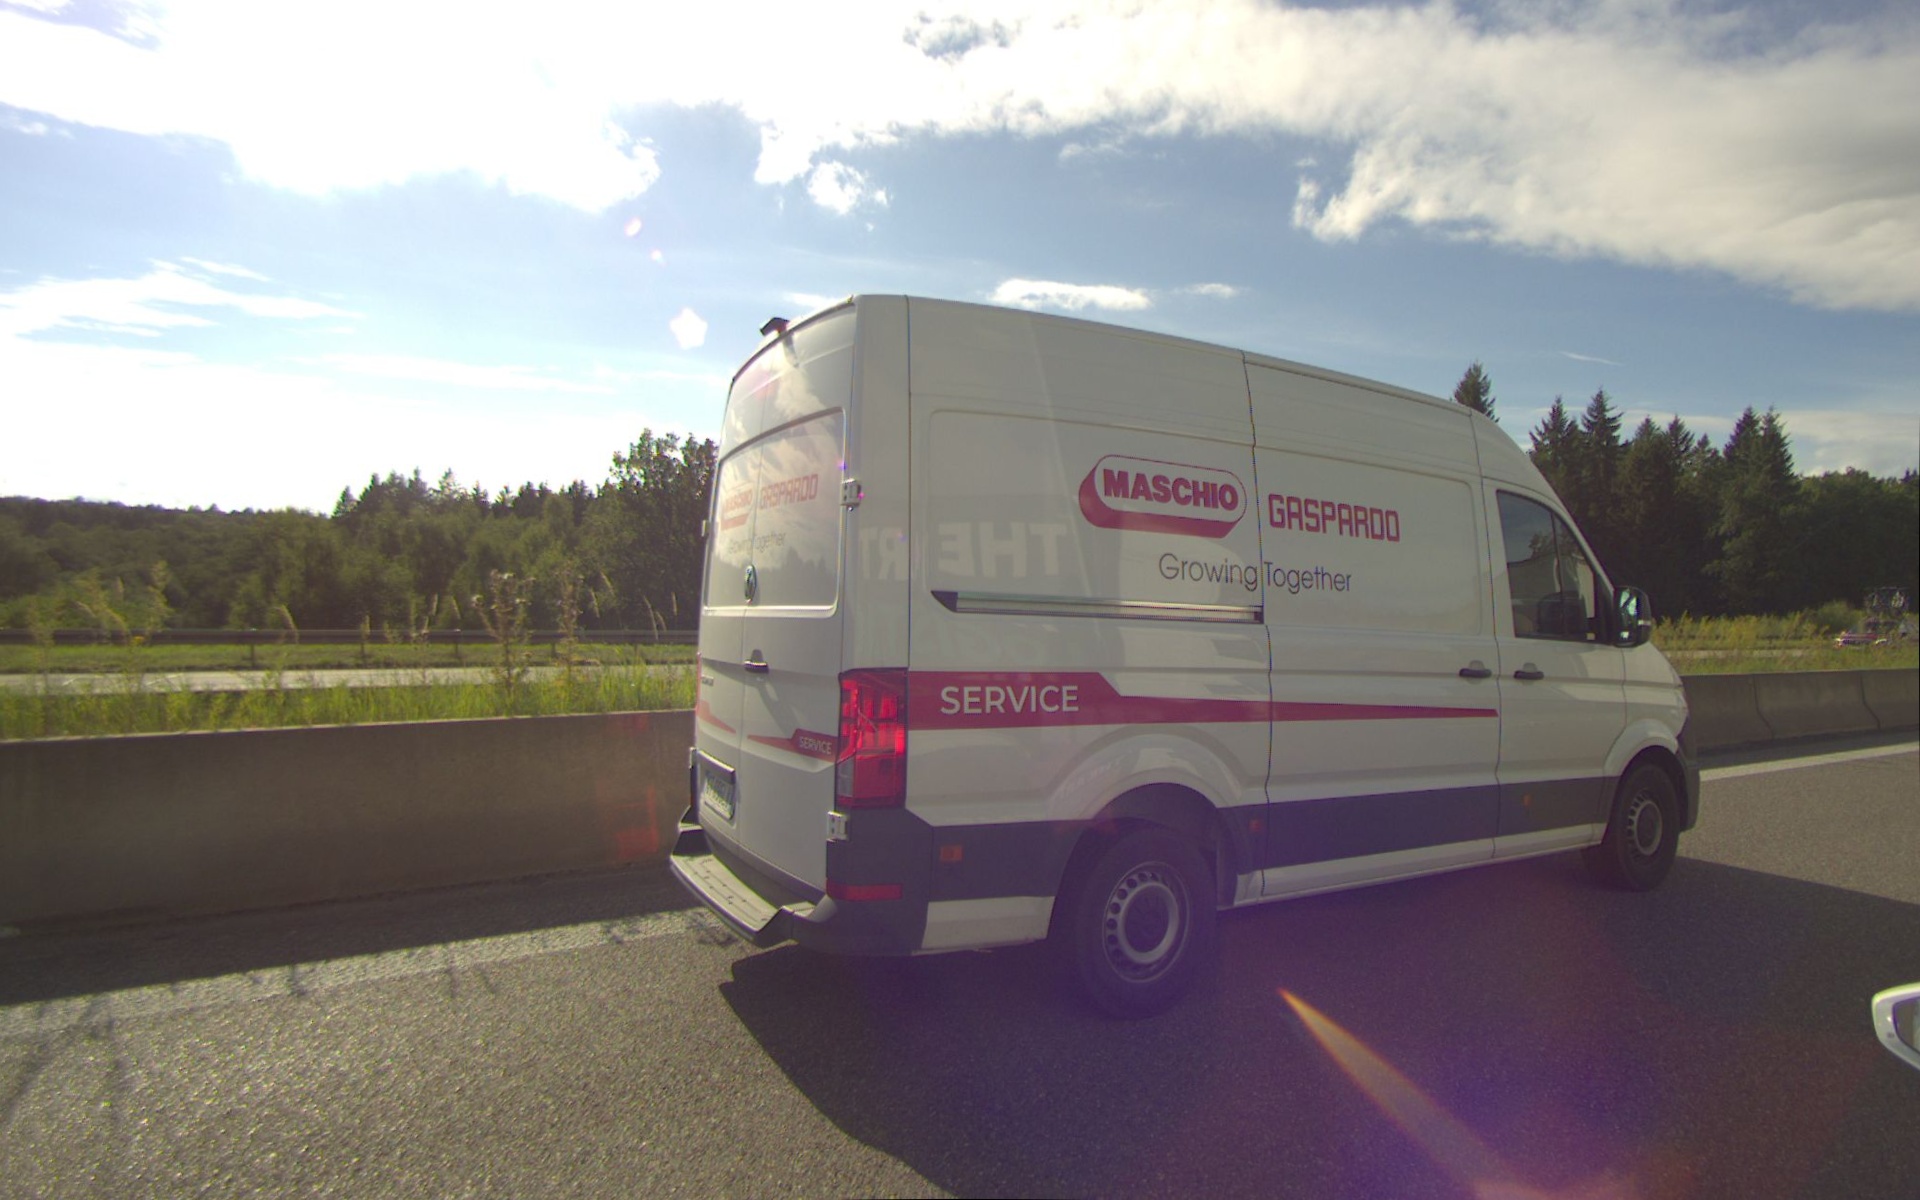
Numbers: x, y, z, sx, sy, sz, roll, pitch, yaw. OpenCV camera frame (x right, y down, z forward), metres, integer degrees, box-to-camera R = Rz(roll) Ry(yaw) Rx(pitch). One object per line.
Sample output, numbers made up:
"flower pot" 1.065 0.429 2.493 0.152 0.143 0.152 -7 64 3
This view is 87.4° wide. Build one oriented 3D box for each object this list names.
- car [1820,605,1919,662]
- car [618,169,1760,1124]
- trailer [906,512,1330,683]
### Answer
"car" 33.644 1.229 36.970 3.953 1.907 1.751 2 2 -30
"car" 1.593 0.169 5.215 6.110 2.633 2.005 1 -1 -31
"trailer" 4.048 0.050 23.273 10.751 3.328 2.309 1 0 -31
